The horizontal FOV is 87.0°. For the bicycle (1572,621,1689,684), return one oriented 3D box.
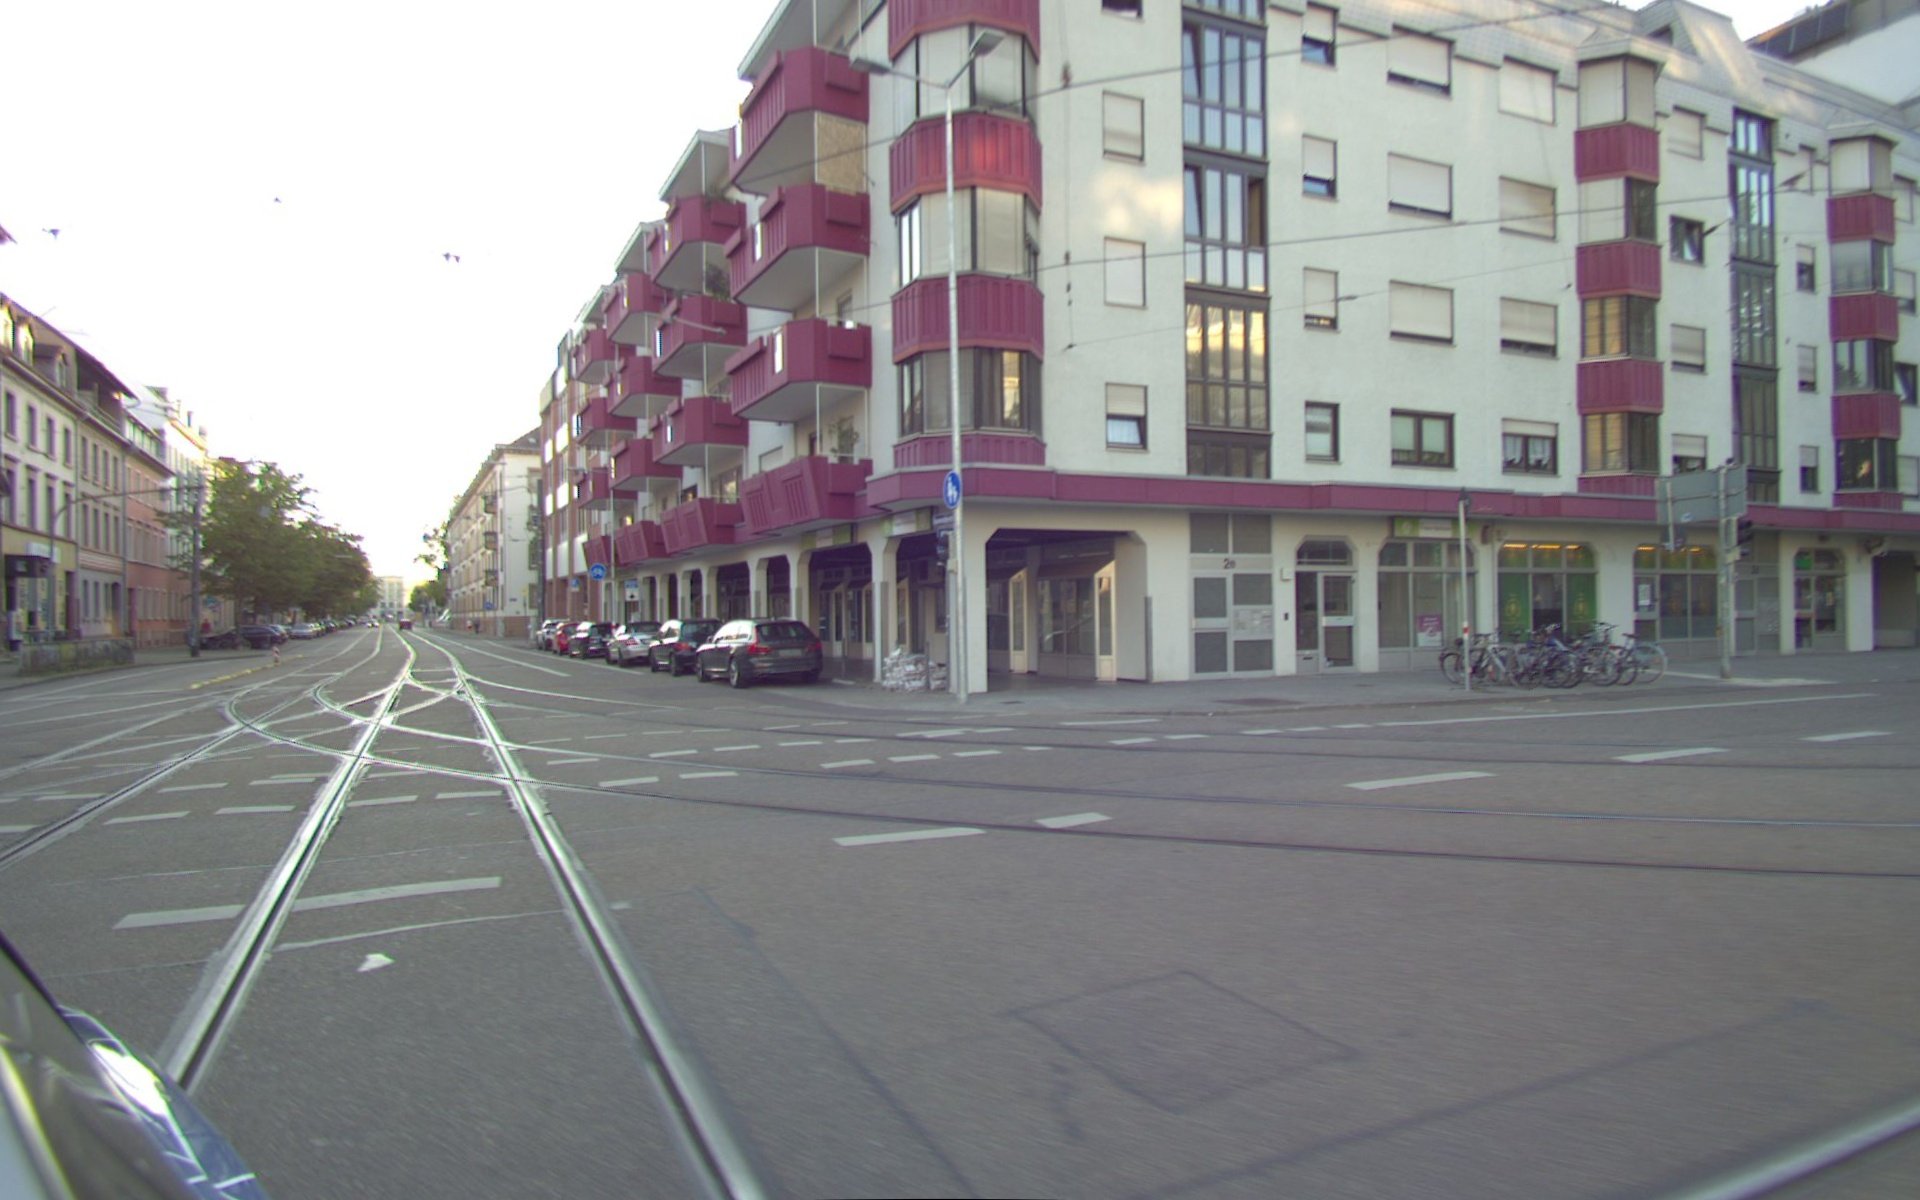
[{"bbox_3d":[12.211,0.924,18.503,0.490,1.069,1.847,-1,-1,-18],"label":"bicycle"}]

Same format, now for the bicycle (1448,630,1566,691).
[{"bbox_3d":[9.552,1.035,17.749,0.662,0.965,1.847,-1,-1,-18],"label":"bicycle"}]

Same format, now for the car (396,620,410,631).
[{"bbox_3d":[-79.499,3.675,144.541,1.538,1.570,3.765,1,-2,-32],"label":"car"}]

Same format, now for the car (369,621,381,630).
[{"bbox_3d":[-115.904,5.031,200.443,1.966,1.696,4.012,-2,-1,-30],"label":"car"}]

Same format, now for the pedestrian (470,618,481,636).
[{"bbox_3d":[-47.667,2.643,99.543,0.784,1.714,0.984,-1,-1,-32],"label":"pedestrian"}]

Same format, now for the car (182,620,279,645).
[{"bbox_3d":[-45.297,2.022,62.915,1.707,1.468,4.563,-1,-2,35],"label":"car"}]

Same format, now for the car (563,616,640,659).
[{"bbox_3d":[-14.416,1.464,40.543,1.966,1.490,4.495,-3,1,-32],"label":"car"}]

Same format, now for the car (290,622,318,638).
[{"bbox_3d":[-62.413,2.845,96.389,1.755,1.391,4.706,1,-2,-28],"label":"car"}]

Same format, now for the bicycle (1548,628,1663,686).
[{"bbox_3d":[11.654,1.011,18.337,0.490,0.965,1.847,-1,-1,-18],"label":"bicycle"}]

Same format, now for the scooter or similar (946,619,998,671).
[{"bbox_3d":[0.273,1.055,24.043,0.541,1.174,1.484,-1,-1,-29],"label":"scooter or similar"}]

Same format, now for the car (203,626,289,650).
[{"bbox_3d":[-48.419,2.565,68.693,2.060,1.528,4.402,-2,-2,37],"label":"car"}]

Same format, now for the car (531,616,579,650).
[{"bbox_3d":[-20.407,1.625,50.900,1.693,1.567,4.216,-2,0,-29],"label":"car"}]

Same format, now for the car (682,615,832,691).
[{"bbox_3d":[-4.730,1.117,22.932,1.826,1.468,5.101,-1,-1,-29],"label":"car"}]

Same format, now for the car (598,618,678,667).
[{"bbox_3d":[-10.617,1.338,33.191,1.668,1.424,4.692,-3,0,-27],"label":"car"}]

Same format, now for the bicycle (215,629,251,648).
[{"bbox_3d":[-43.944,2.321,61.164,1.666,1.110,0.930,1,-2,-30],"label":"bicycle"}]

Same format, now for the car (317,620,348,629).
[{"bbox_3d":[-116.093,4.575,187.194,1.805,1.529,4.584,-1,-1,33],"label":"car"}]

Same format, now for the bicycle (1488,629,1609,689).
[{"bbox_3d":[10.352,1.012,17.887,0.662,0.965,1.847,-1,-1,-18],"label":"bicycle"}]

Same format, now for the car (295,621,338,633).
[{"bbox_3d":[-81.897,3.397,128.843,1.720,1.475,4.329,-2,-2,42],"label":"car"}]

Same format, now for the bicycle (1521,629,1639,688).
[{"bbox_3d":[11.065,1.013,18.146,0.586,0.965,1.847,-1,-1,-18],"label":"bicycle"}]

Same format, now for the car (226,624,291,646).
[{"bbox_3d":[-50.668,2.486,73.149,1.739,1.528,3.524,-1,-2,35],"label":"car"}]

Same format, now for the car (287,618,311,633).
[{"bbox_3d":[-59.678,2.302,91.425,1.596,1.391,3.787,1,-2,-30],"label":"car"}]

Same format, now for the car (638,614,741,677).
[{"bbox_3d":[-7.615,1.206,28.221,1.763,1.519,4.213,-3,0,-29],"label":"car"}]

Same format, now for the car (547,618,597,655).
[{"bbox_3d":[-17.607,1.618,45.850,1.589,1.490,3.490,-3,0,-28],"label":"car"}]

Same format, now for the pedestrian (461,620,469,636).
[{"bbox_3d":[-48.463,2.747,99.069,0.582,1.622,0.813,-1,-1,-32],"label":"pedestrian"}]
